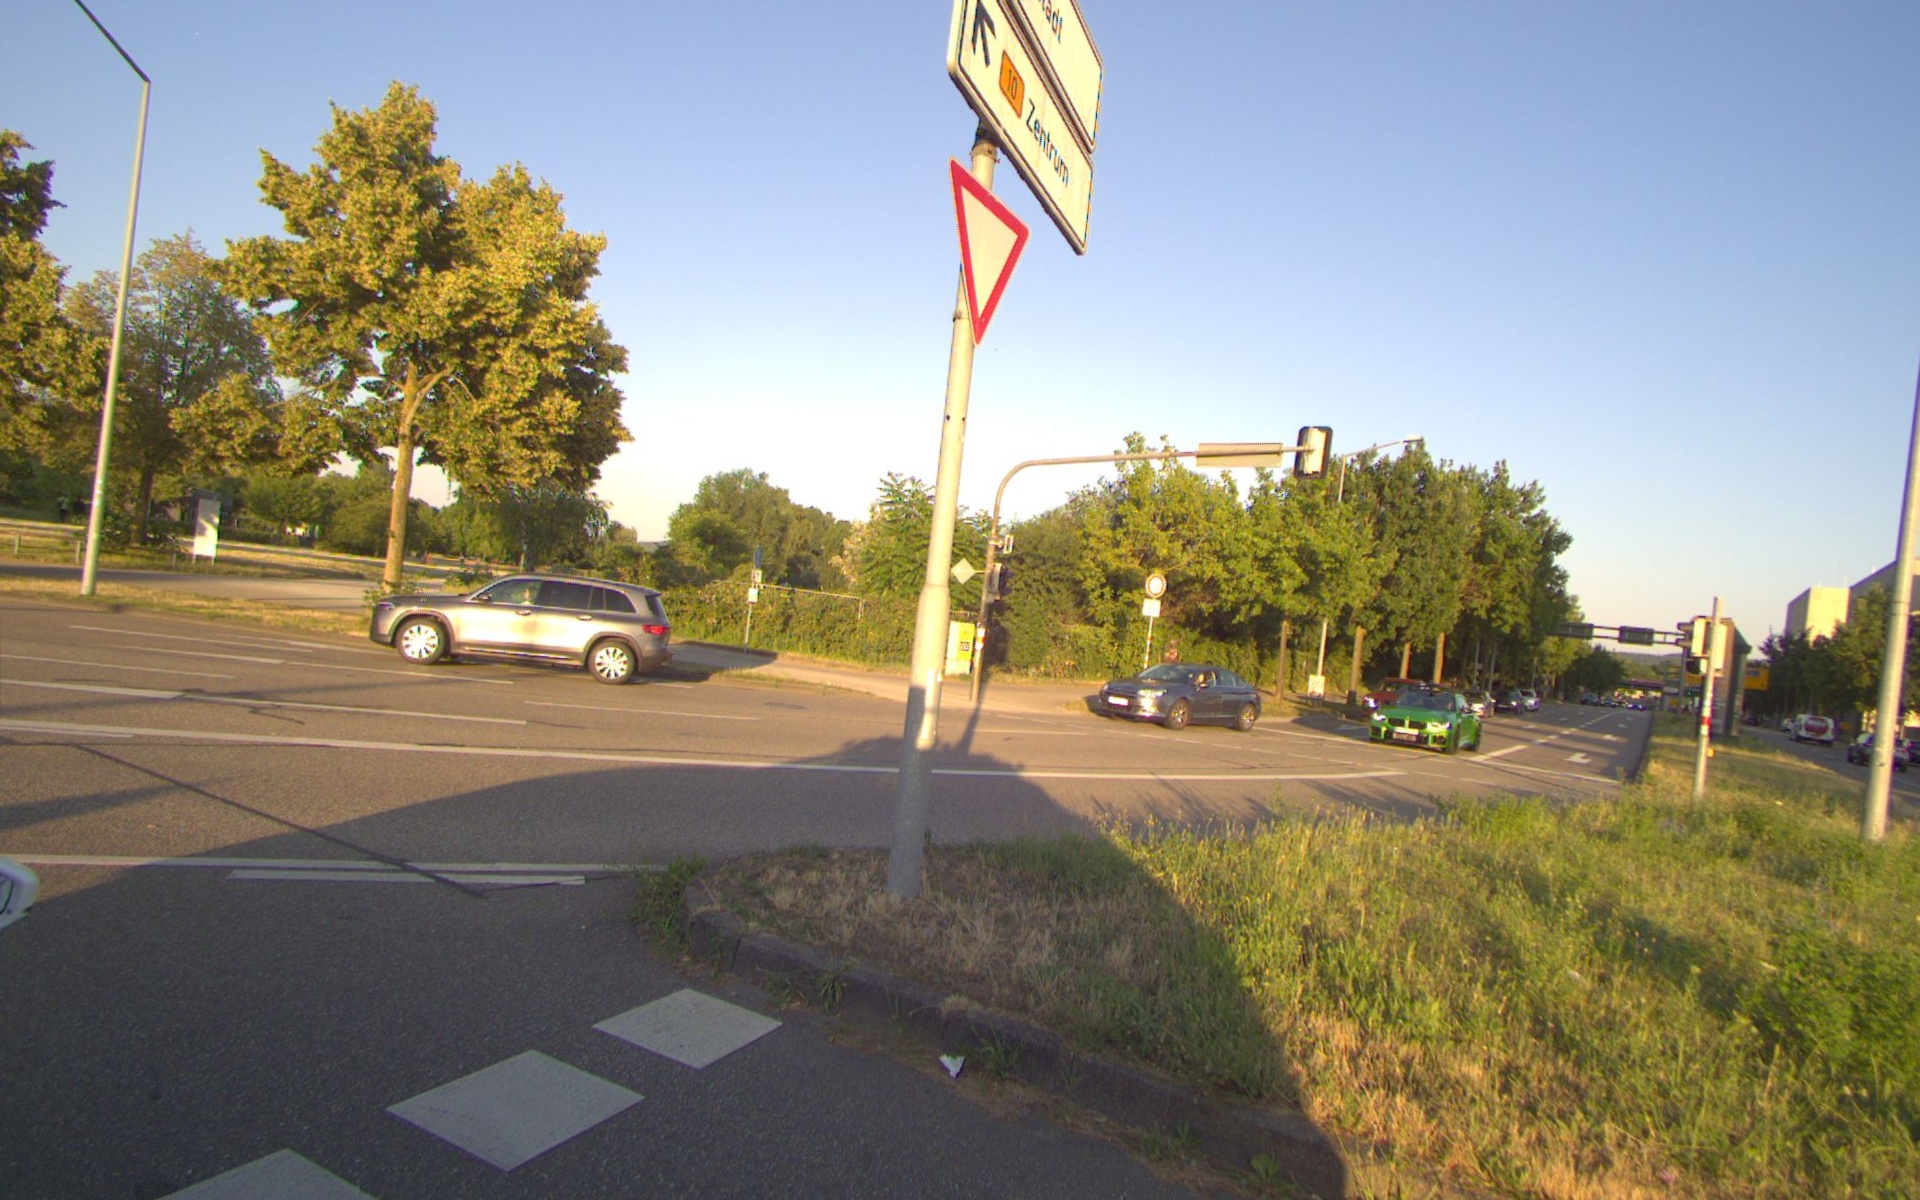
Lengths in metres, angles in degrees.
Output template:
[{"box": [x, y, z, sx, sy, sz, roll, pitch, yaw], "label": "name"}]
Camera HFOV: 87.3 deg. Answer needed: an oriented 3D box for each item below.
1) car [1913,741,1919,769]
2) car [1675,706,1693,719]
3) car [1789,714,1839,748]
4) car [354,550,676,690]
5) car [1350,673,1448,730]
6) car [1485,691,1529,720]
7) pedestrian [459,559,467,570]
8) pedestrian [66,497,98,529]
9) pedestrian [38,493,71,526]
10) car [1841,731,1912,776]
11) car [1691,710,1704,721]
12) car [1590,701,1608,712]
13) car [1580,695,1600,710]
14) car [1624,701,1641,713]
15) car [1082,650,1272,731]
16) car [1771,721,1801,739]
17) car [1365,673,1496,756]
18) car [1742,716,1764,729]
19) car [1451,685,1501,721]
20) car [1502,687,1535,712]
[{"box": [53.331, 8.572, 54.510, 1.971, 1.444, 4.182, 7, -1, 39], "label": "car"}, {"box": [107.337, 16.648, 149.173, 1.969, 1.523, 4.101, 7, -1, 35], "label": "car"}, {"box": [59.457, 9.088, 70.115, 2.036, 1.970, 4.947, 7, -1, 36], "label": "car"}, {"box": [-7.079, 0.342, 16.570, 4.458, 1.657, 1.993, 7, -1, -17], "label": "car"}, {"box": [15.201, 3.519, 34.716, 1.970, 1.592, 4.400, 7, -1, 38], "label": "car"}, {"box": [34.245, 6.585, 62.934, 1.838, 1.471, 4.152, 7, -1, 35], "label": "car"}, {"box": [-80.685, -5.785, 163.401, 0.841, 1.681, 0.975, 7, 0, -15], "label": "pedestrian"}, {"box": [-50.009, -4.961, 57.310, 0.896, 1.637, 1.070, 7, 0, 34], "label": "pedestrian"}, {"box": [-50.956, -5.109, 56.615, 0.896, 1.637, 1.070, 7, 0, 34], "label": "pedestrian"}, {"box": [43.261, 7.203, 47.553, 1.970, 1.648, 3.987, 7, -1, 37], "label": "car"}, {"box": [145.282, 22.733, 198.189, 1.969, 1.804, 3.988, 7, -1, 37], "label": "car"}, {"box": [98.657, 16.434, 155.325, 1.966, 1.522, 4.615, 6, -2, 30], "label": "car"}, {"box": [82.284, 13.377, 131.320, 1.885, 1.602, 4.170, 7, -1, 34], "label": "car"}, {"box": [102.386, 16.345, 153.145, 1.969, 1.523, 4.758, 7, -1, 35], "label": "car"}, {"box": [5.003, 2.095, 22.824, 4.642, 1.481, 1.864, 8, -4, -44], "label": "car"}, {"box": [88.021, 13.784, 107.198, 1.969, 1.527, 5.171, 7, -1, 36], "label": "car"}, {"box": [11.567, 2.762, 24.566, 1.969, 1.598, 4.472, 5, -2, 36], "label": "car"}, {"box": [119.196, 18.439, 151.247, 1.967, 1.593, 3.992, 7, -1, 32], "label": "car"}, {"box": [26.709, 5.292, 52.033, 1.836, 1.407, 4.154, 11, 2, 31], "label": "car"}, {"box": [39.420, 6.993, 71.024, 1.836, 1.471, 3.966, 7, -1, 29], "label": "car"}]
